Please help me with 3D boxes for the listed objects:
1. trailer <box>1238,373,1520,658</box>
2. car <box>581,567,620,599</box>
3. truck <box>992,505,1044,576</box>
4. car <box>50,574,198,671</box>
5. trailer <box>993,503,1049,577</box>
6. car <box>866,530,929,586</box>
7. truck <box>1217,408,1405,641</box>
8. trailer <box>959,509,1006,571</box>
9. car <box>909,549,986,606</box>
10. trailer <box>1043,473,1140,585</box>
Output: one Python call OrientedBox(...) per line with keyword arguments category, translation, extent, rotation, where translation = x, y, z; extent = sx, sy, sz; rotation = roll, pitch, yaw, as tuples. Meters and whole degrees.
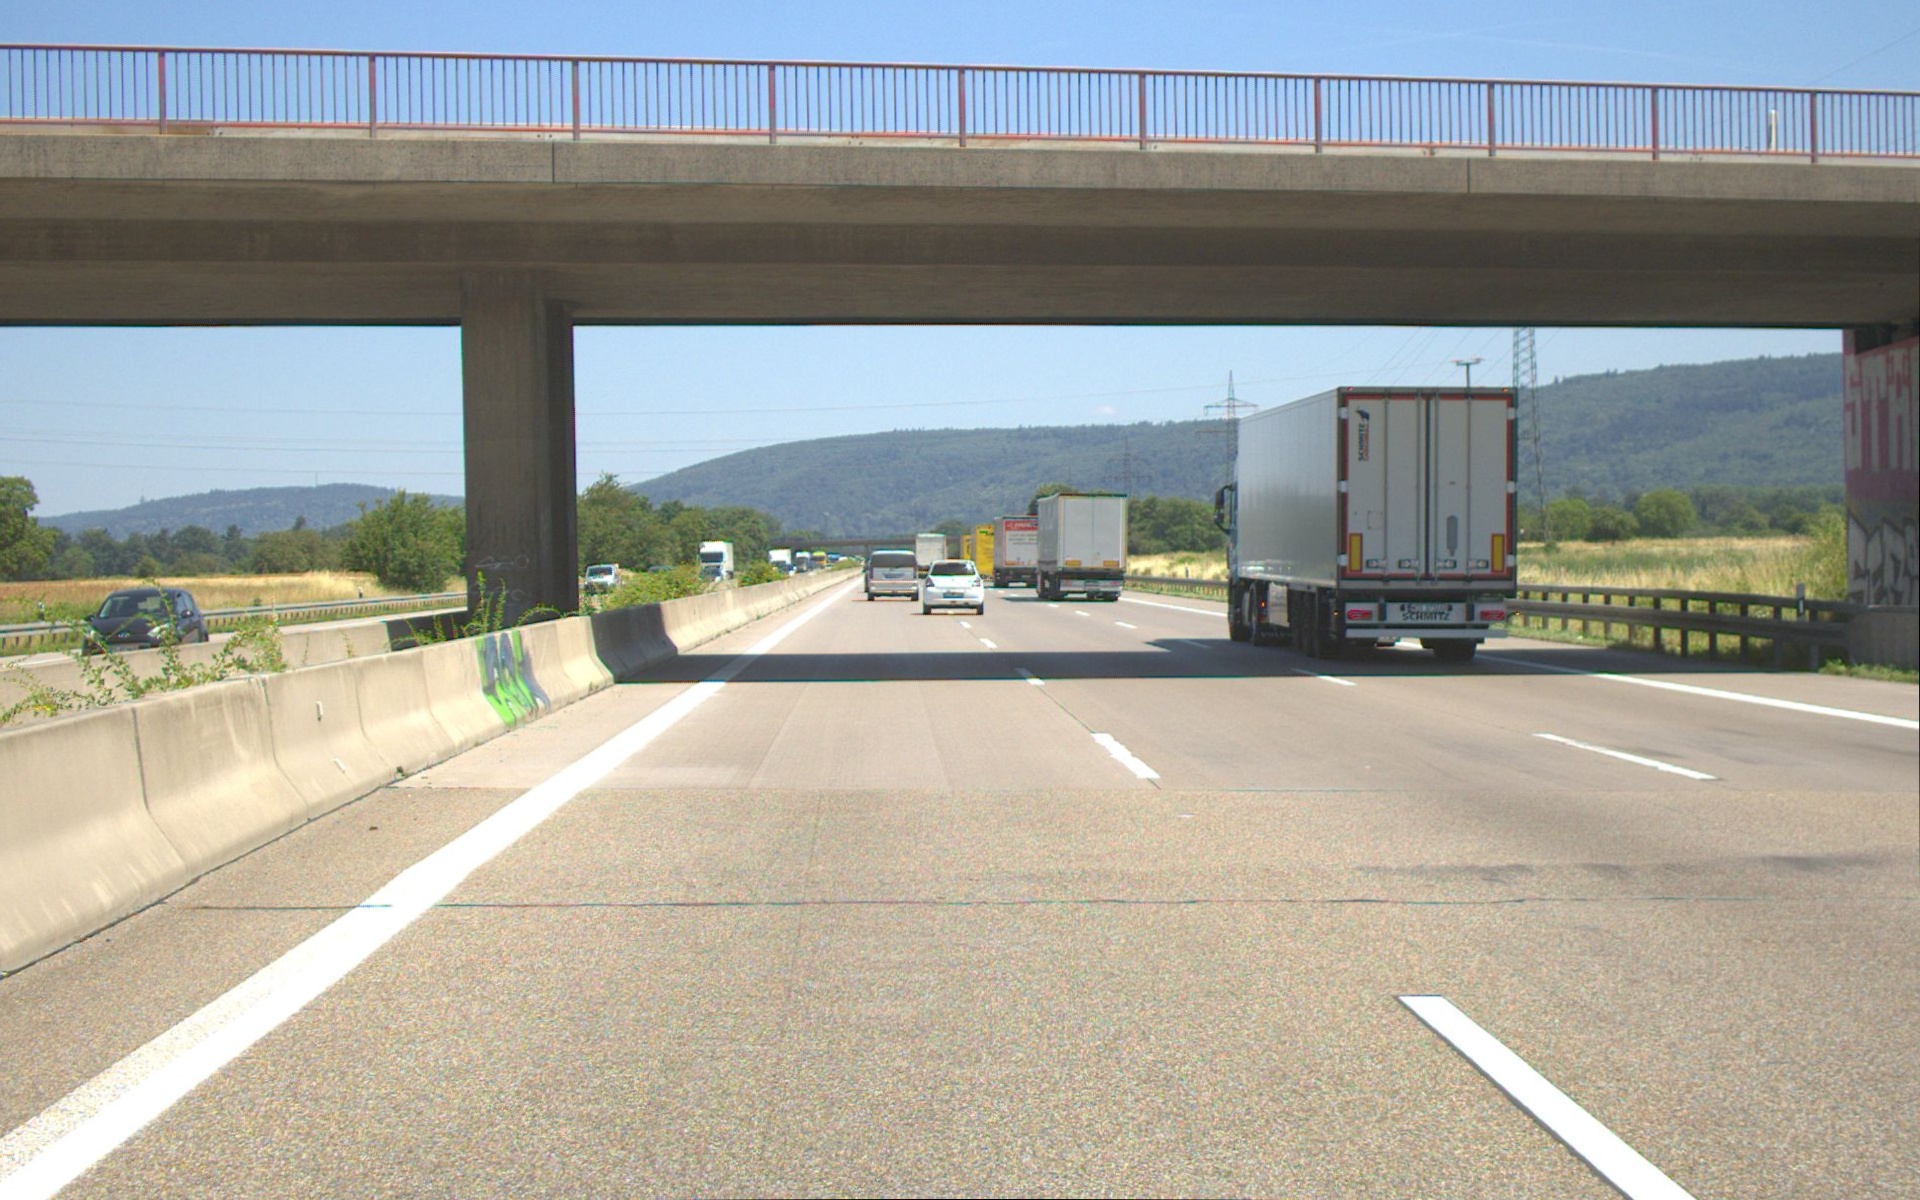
OrientedBox(category="trailer", translation=(6.499, -1.273, 55.496), extent=(2.708, 4.030, 12.903), rotation=(1, 1, -1))
OrientedBox(category="car", translation=(-22.017, -1.051, 210.774), extent=(1.865, 1.937, 5.566), rotation=(1, 1, -1))
OrientedBox(category="truck", translation=(3.404, -3.490, 203.657), extent=(2.905, 4.087, 6.272), rotation=(1, 1, 0))
OrientedBox(category="car", translation=(-14.882, 0.368, 61.377), extent=(1.766, 1.613, 3.862), rotation=(-1, 1, -2))
OrientedBox(category="trailer", translation=(3.458, -3.436, 198.374), extent=(2.874, 4.087, 13.513), rotation=(1, 1, 0))
OrientedBox(category="car", translation=(-2.325, -1.566, 128.732), extent=(2.254, 2.007, 4.298), rotation=(1, 1, 0))
OrientedBox(category="truck", translation=(6.348, -1.349, 62.888), extent=(2.750, 4.030, 5.466), rotation=(1, 0, -1))
OrientedBox(category="trailer", translation=(1.663, -4.532, 260.840), extent=(3.216, 4.548, 13.457), rotation=(1, 1, -1))
OrientedBox(category="car", translation=(-0.335, -0.627, 96.189), extent=(2.107, 1.531, 4.122), rotation=(1, 1, 0))
OrientedBox(category="trailer", translation=(4.997, -2.671, 133.148), extent=(3.018, 4.047, 14.207), rotation=(1, 1, -1))
